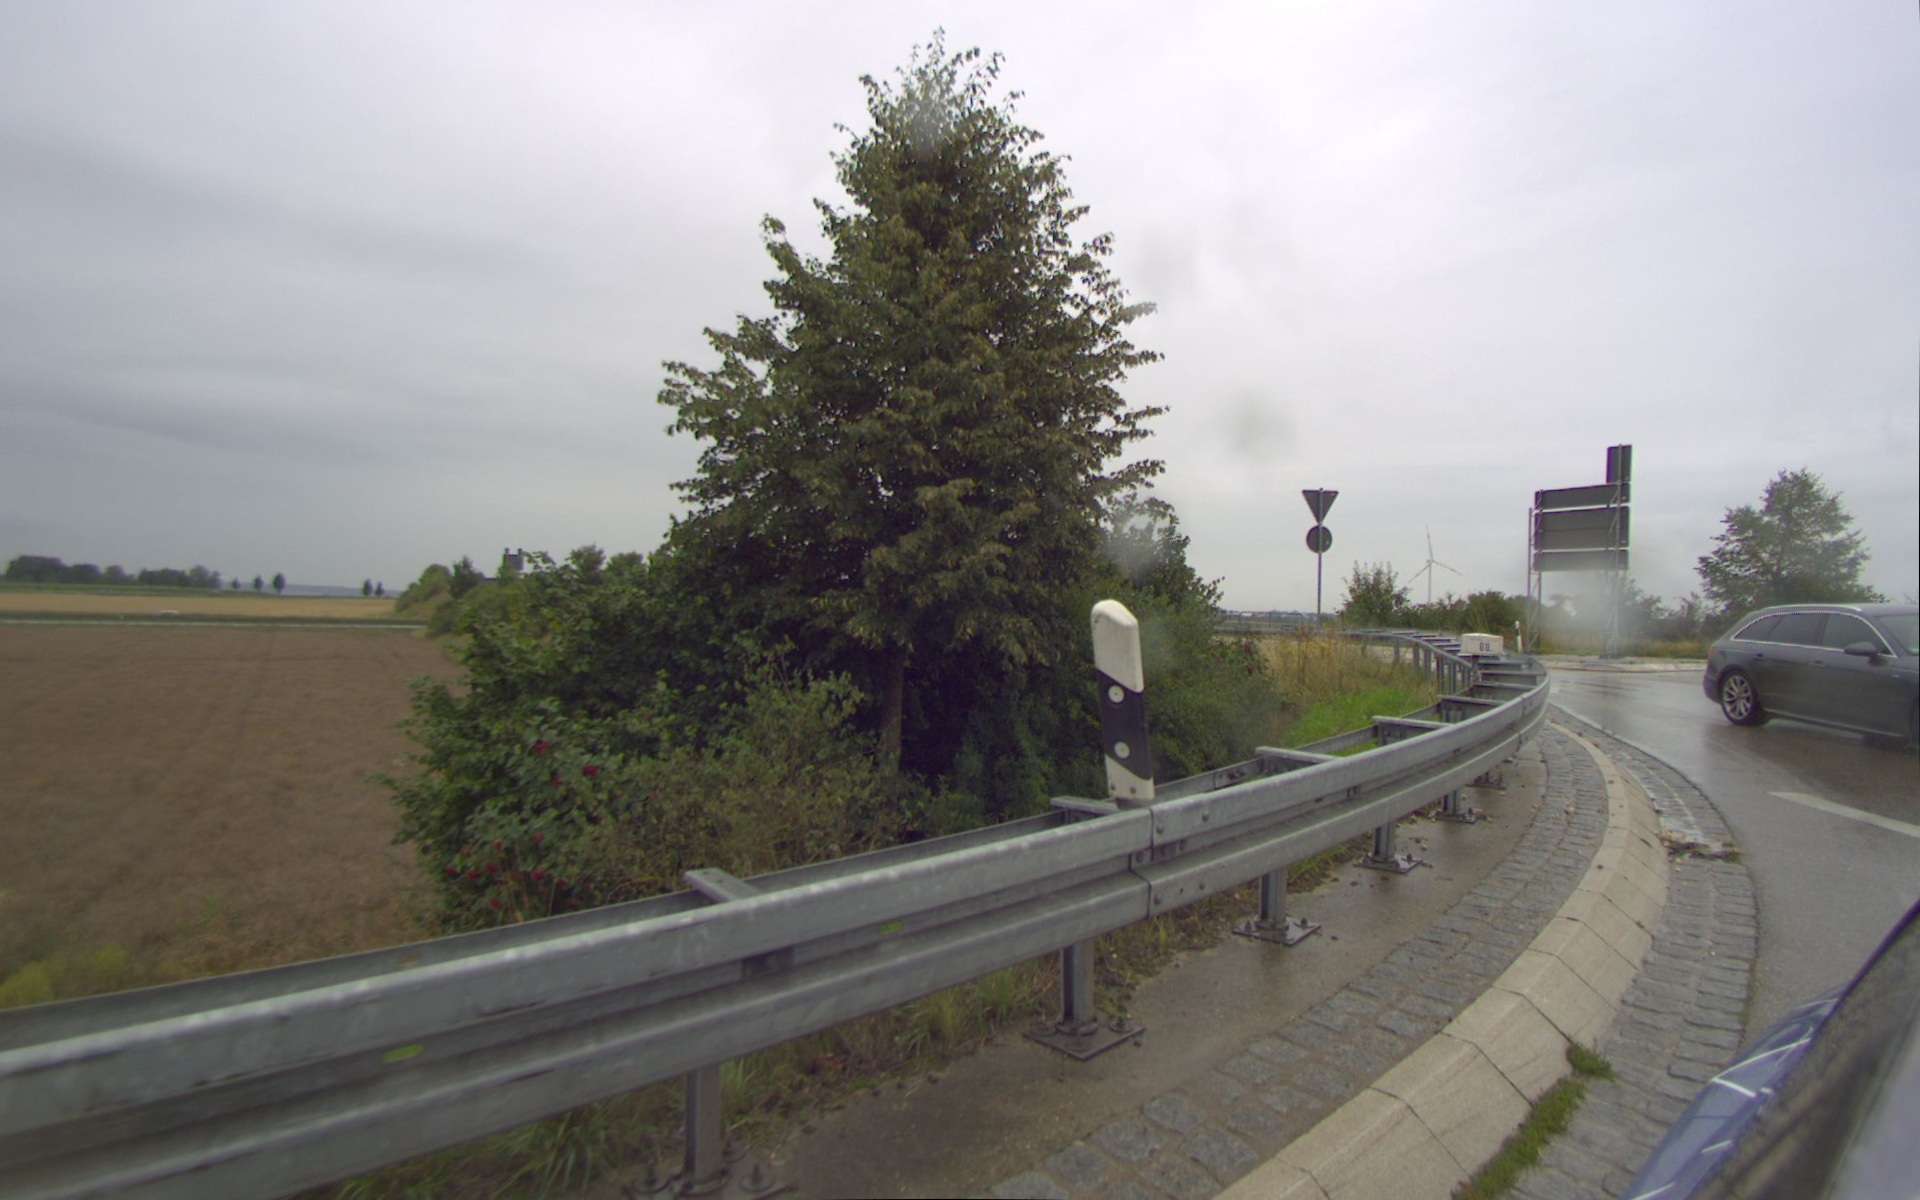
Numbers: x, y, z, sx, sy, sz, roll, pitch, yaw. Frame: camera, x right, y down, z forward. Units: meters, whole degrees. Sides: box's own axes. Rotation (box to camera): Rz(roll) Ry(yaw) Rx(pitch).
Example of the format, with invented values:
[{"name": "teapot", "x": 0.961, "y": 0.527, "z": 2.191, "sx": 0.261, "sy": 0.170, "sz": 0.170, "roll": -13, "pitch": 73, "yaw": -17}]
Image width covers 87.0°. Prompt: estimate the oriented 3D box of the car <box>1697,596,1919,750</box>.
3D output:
[{"name": "car", "x": 9.705, "y": 0.669, "z": 10.027, "sx": 1.878, "sy": 1.386, "sz": 4.555, "roll": 0, "pitch": 0, "yaw": 7}]
